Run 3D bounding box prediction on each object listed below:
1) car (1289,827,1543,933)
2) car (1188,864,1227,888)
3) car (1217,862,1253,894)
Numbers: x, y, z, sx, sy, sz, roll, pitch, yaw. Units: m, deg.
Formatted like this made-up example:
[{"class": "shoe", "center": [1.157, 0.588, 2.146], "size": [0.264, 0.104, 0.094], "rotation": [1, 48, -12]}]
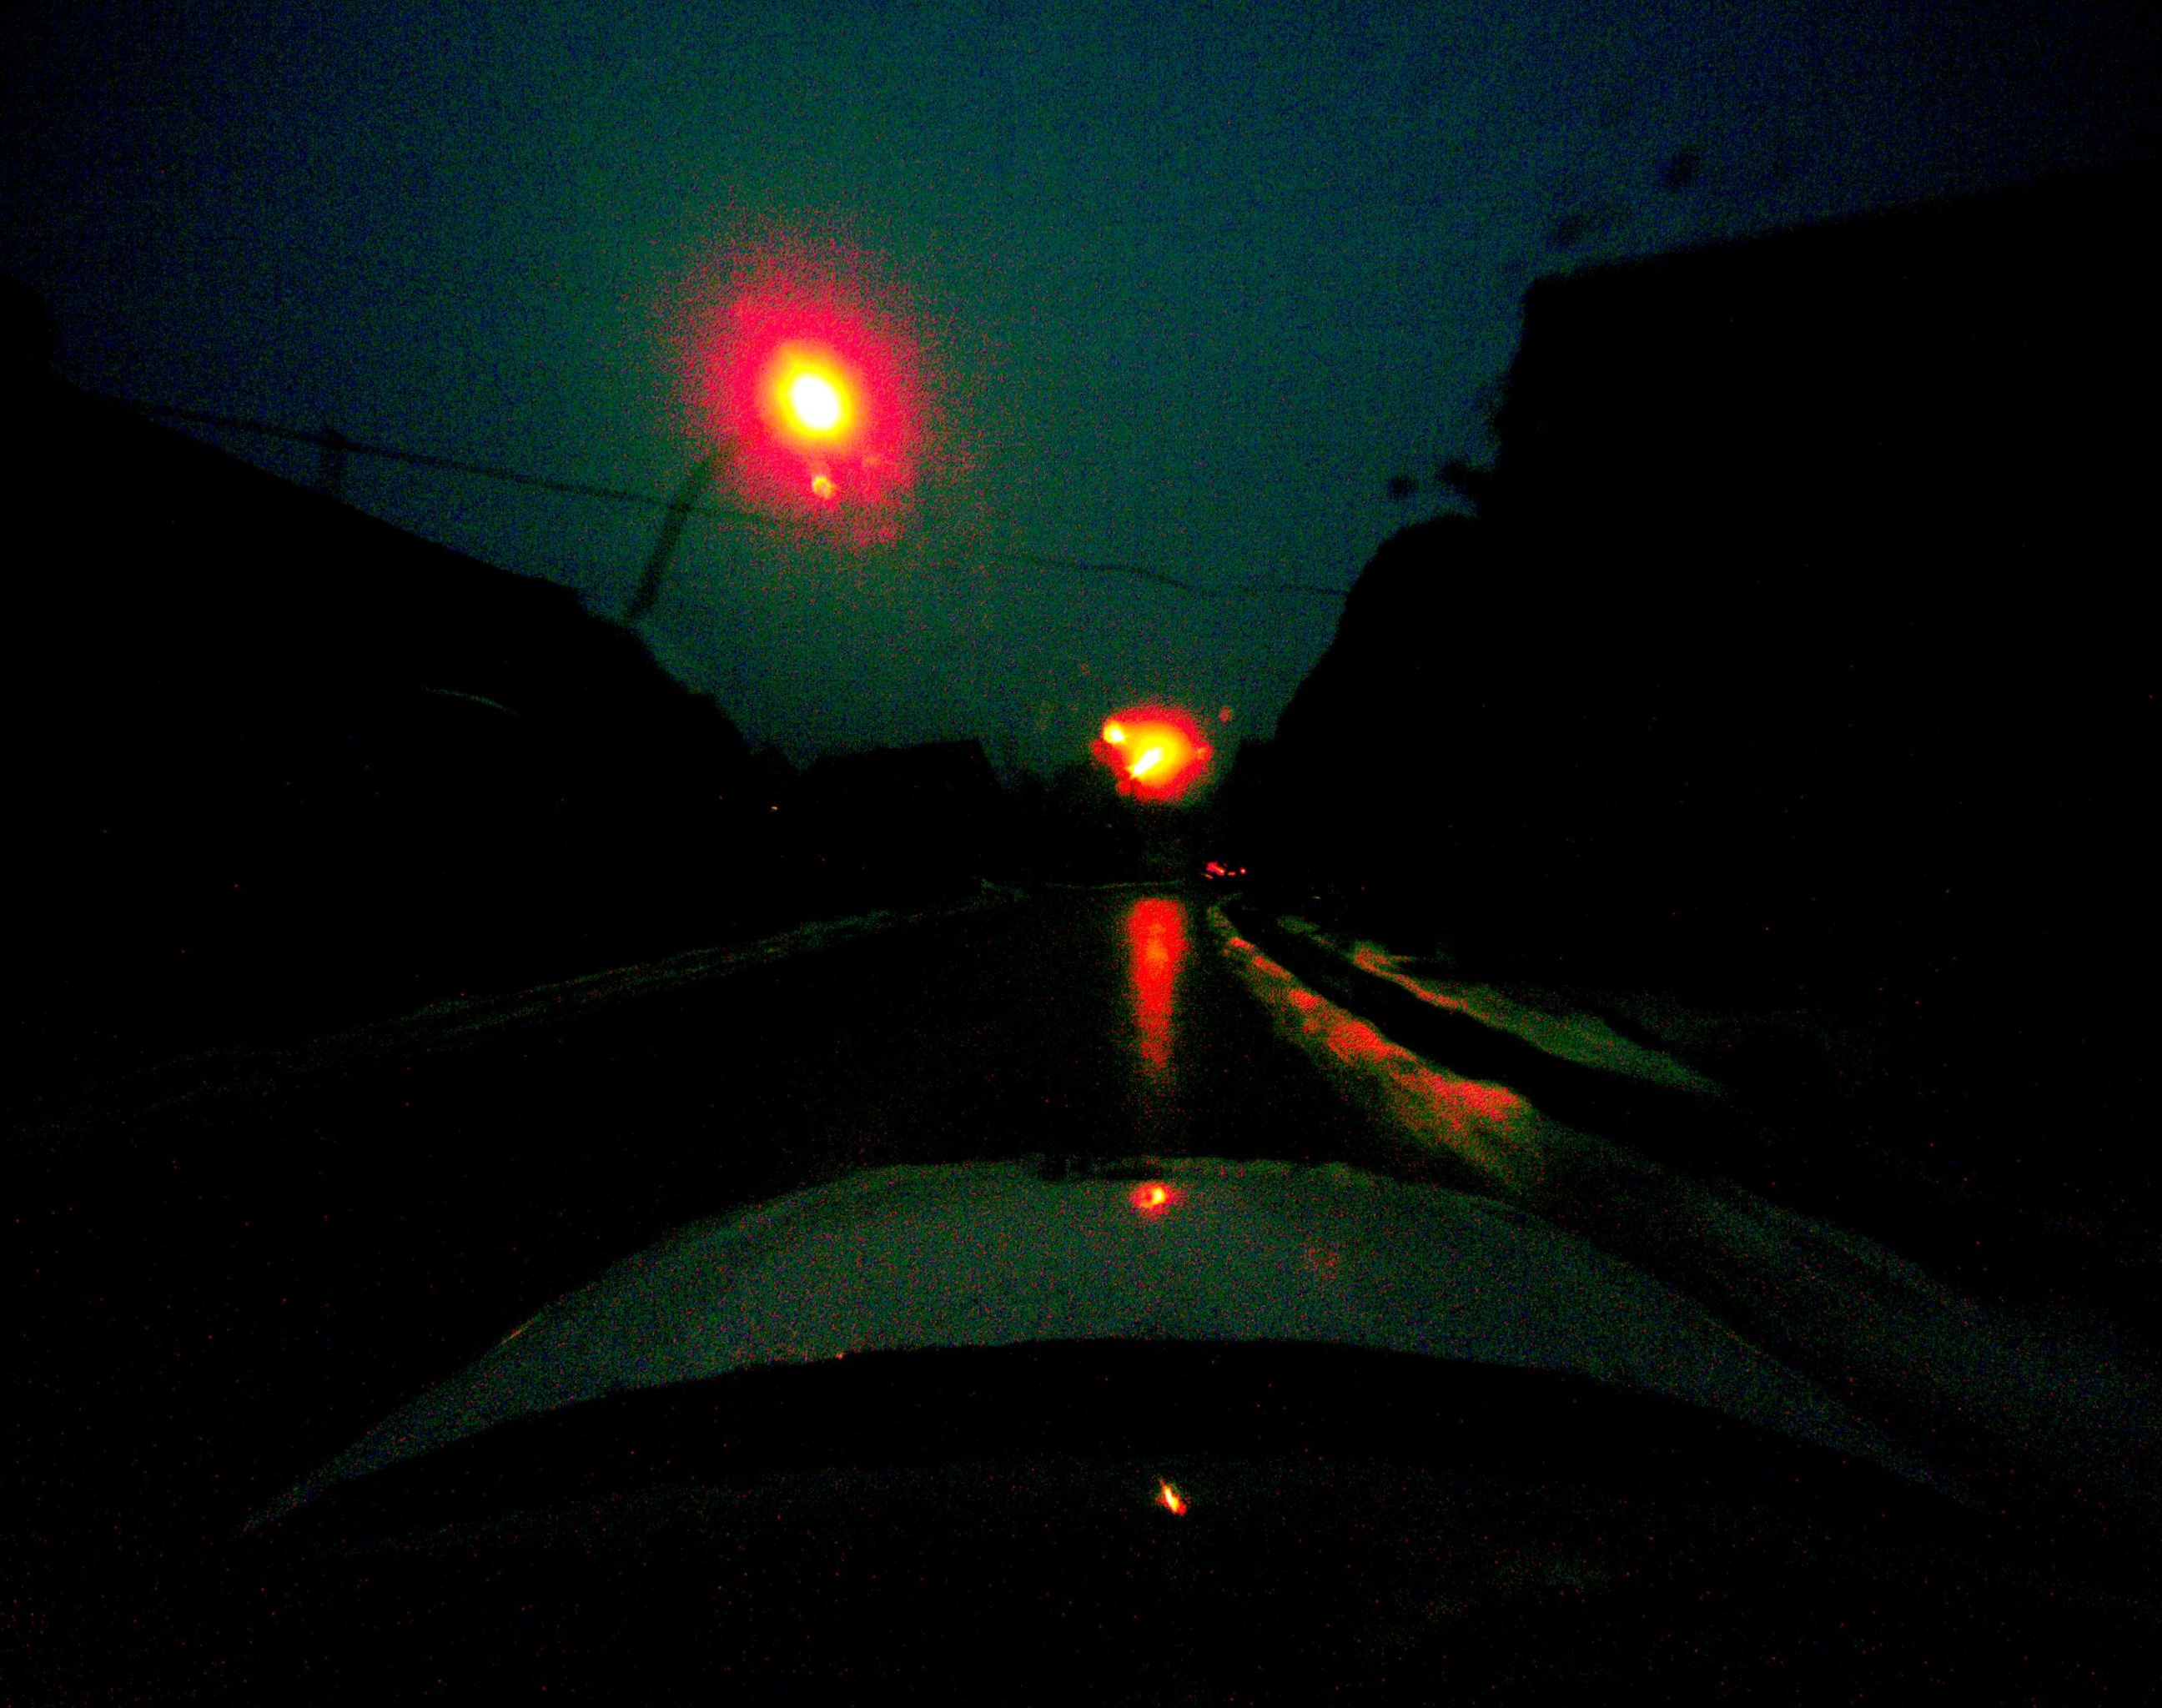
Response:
[{"class": "car", "center": [6.180, 0.475, 15.366], "size": [3.977, 1.690, 1.843], "rotation": [-3, -2, -2]}, {"class": "car", "center": [9.930, 1.739, 63.608], "size": [1.976, 1.651, 4.021], "rotation": [-4, -4, 23]}, {"class": "car", "center": [9.384, 1.472, 49.452], "size": [1.980, 1.737, 3.890], "rotation": [-4, -4, 12]}]
